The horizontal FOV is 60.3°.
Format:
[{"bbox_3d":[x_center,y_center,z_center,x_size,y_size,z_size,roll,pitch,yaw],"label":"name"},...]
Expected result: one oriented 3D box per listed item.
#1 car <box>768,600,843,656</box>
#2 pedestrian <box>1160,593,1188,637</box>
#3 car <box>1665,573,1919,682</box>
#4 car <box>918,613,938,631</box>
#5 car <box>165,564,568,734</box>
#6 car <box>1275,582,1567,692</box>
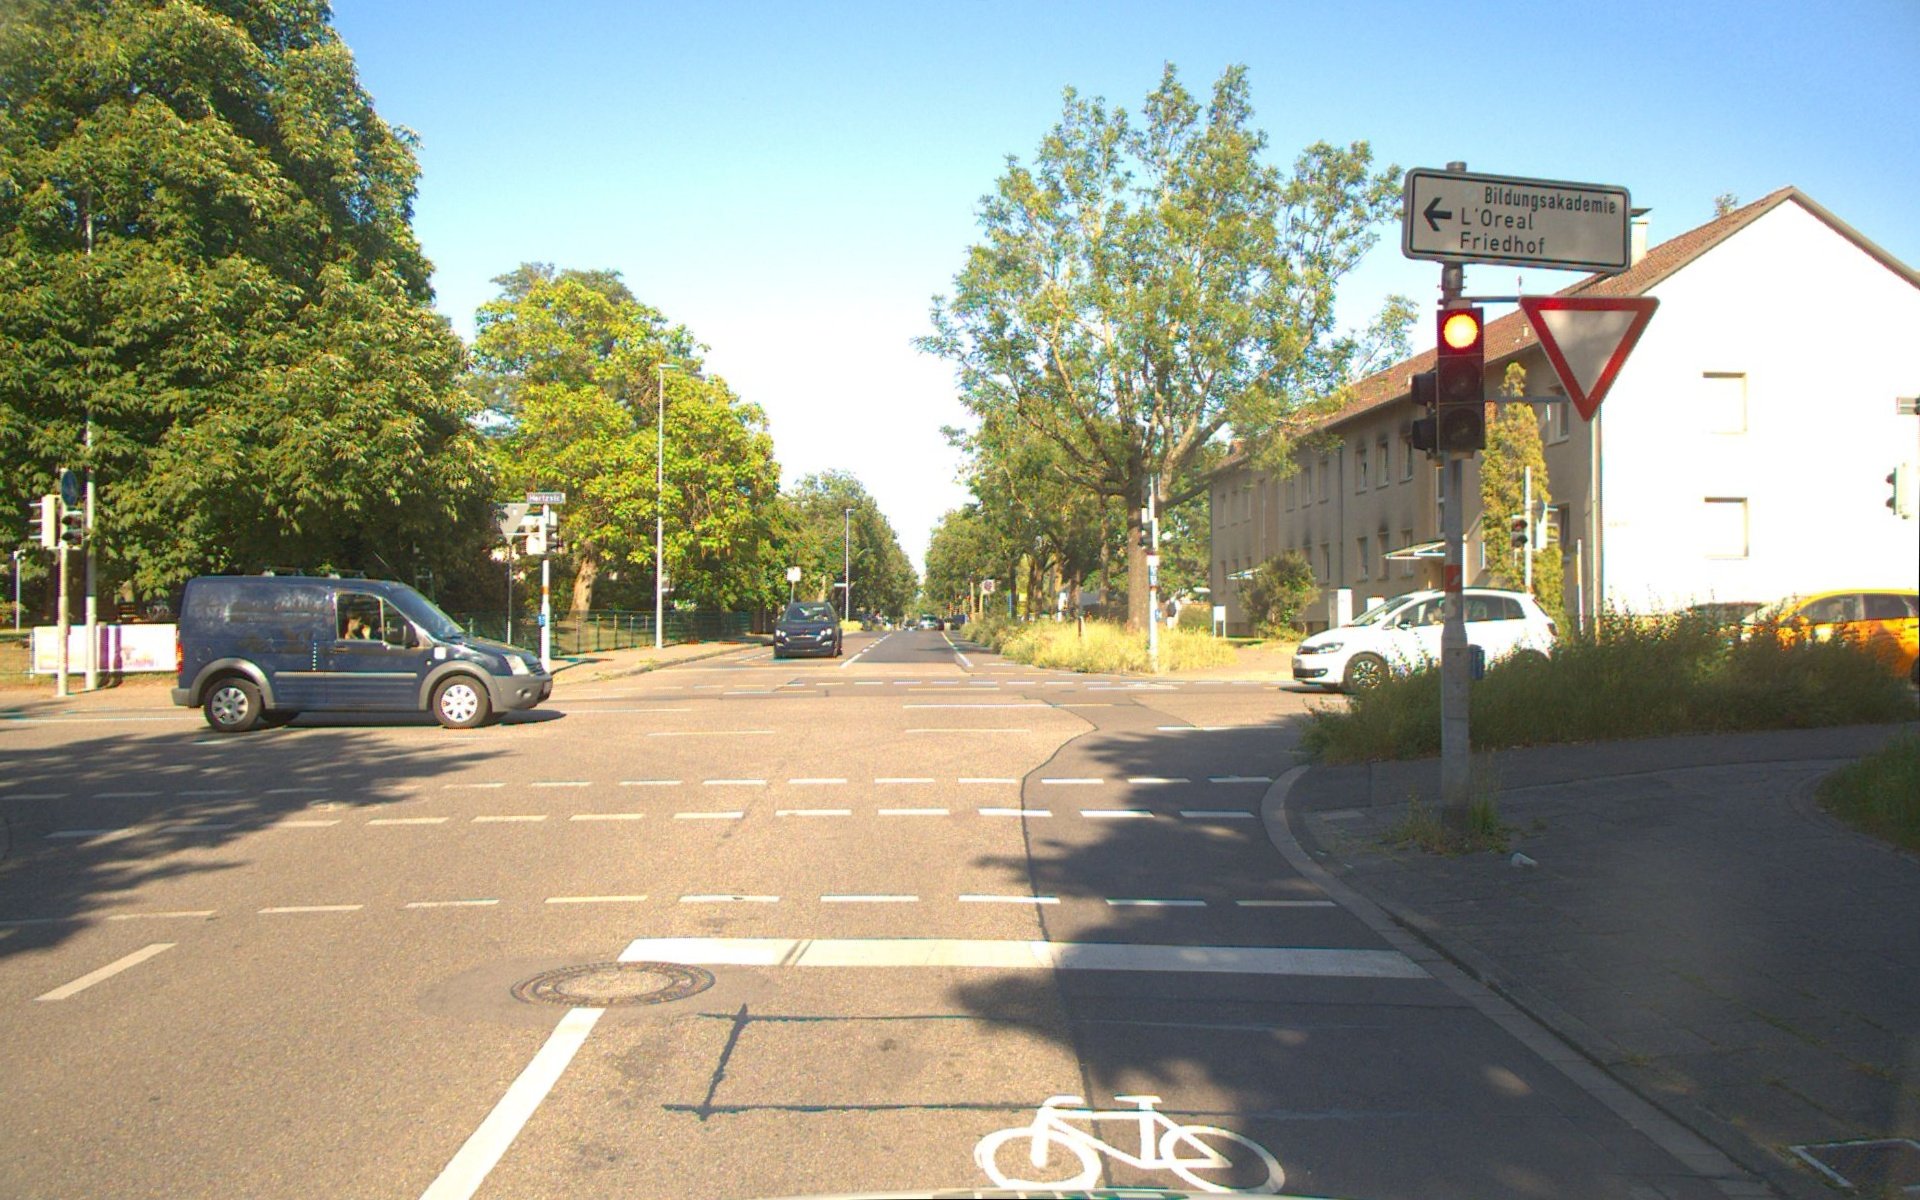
[{"bbox_3d":[-4.114,0.725,44.413,1.676,1.410,3.471,0,0,0],"label":"car"},{"bbox_3d":[7.611,0.518,58.903,0.825,1.519,0.924,2,0,-1],"label":"pedestrian"},{"bbox_3d":[13.470,0.431,26.172,3.902,1.610,1.758,1,0,5],"label":"car"},{"bbox_3d":[-2.826,1.930,146.209,1.807,1.487,3.529,0,0,-1],"label":"car"},{"bbox_3d":[-7.108,0.552,20.191,4.260,1.920,1.858,-1,0,-5],"label":"car"},{"bbox_3d":[7.090,0.569,25.675,4.025,1.591,1.756,1,0,-4],"label":"car"}]
